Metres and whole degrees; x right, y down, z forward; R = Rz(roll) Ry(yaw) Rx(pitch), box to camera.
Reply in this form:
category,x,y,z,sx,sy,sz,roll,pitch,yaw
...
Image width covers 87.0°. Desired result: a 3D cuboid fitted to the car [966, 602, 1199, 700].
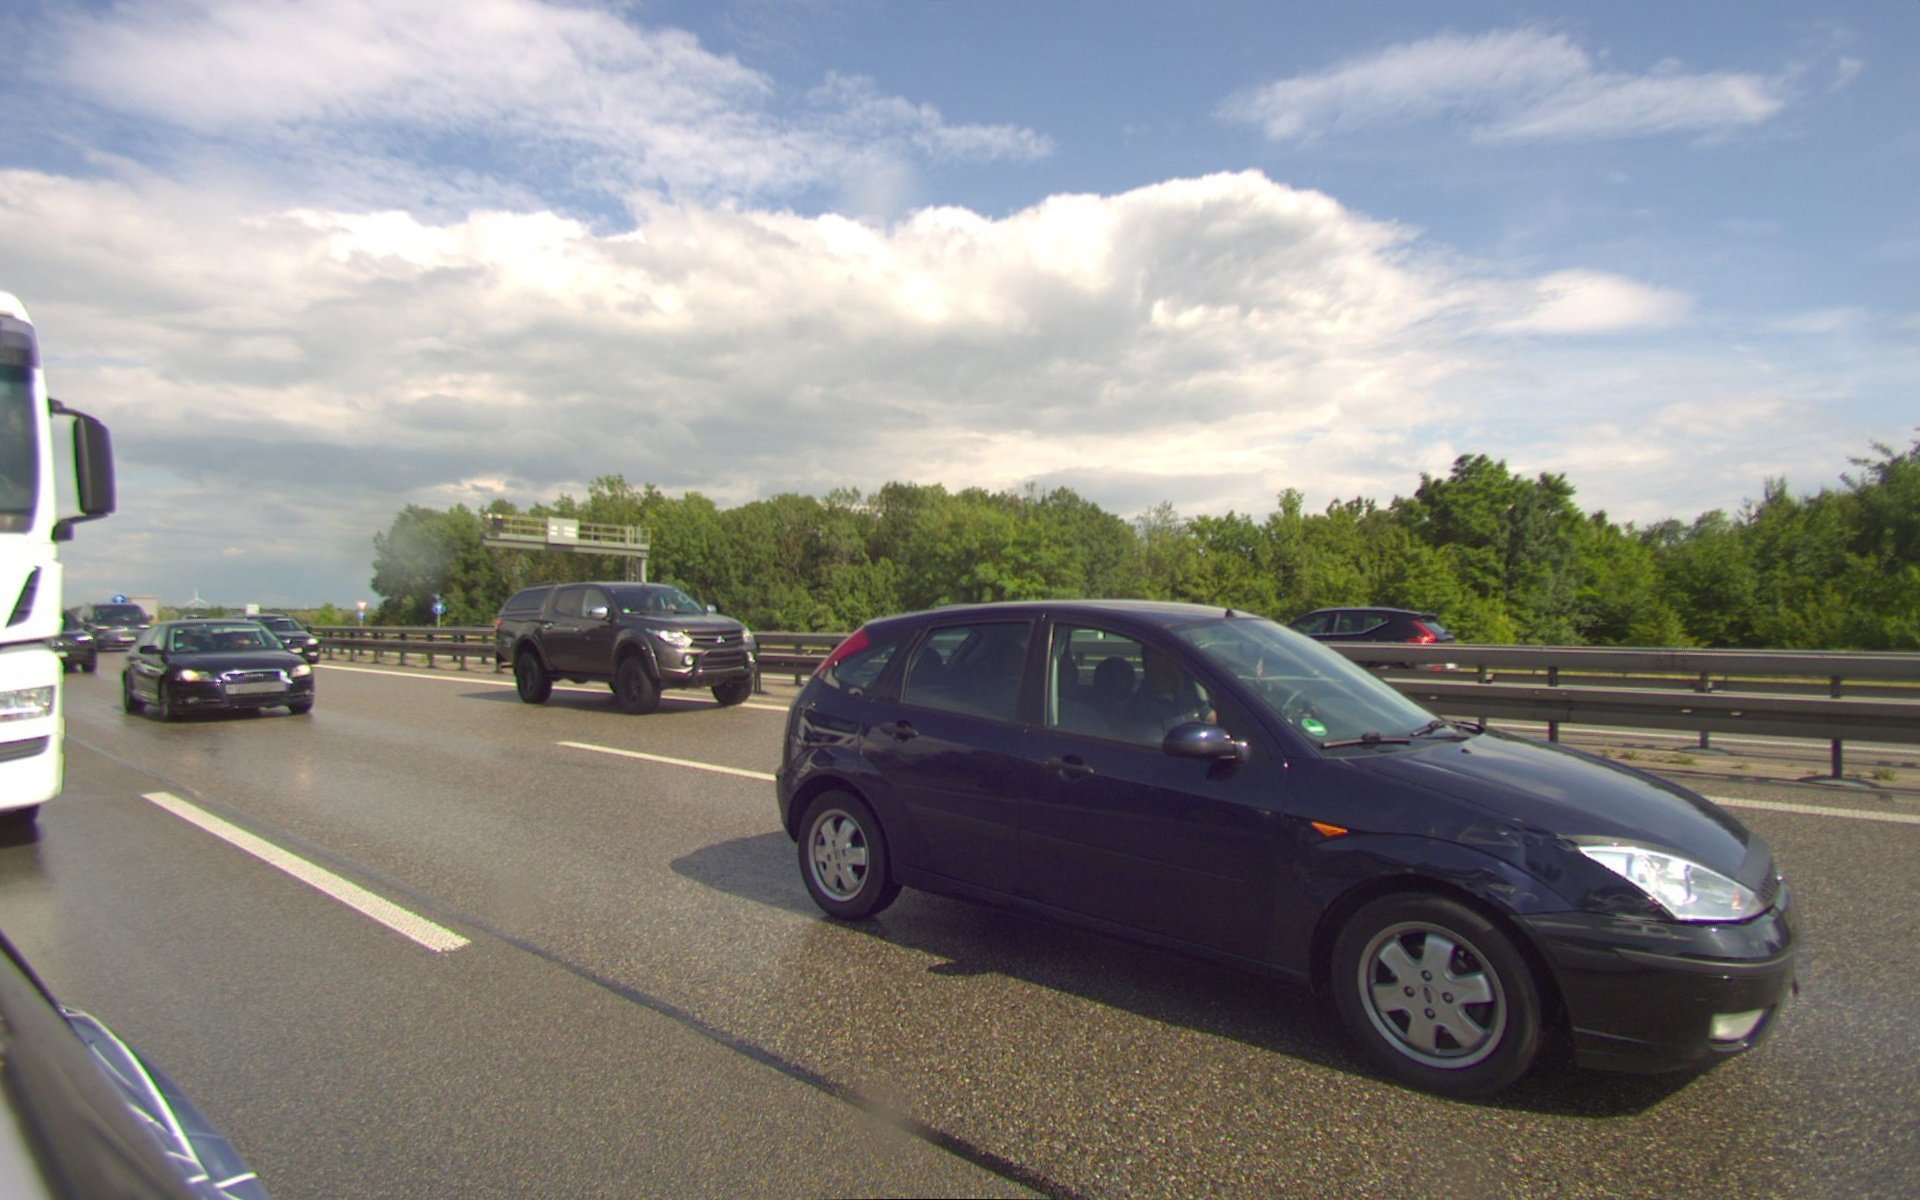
category,x,y,z,sx,sy,sz,roll,pitch,yaw
car,2.118,0.847,18.081,3.818,1.564,1.694,-1,-1,39

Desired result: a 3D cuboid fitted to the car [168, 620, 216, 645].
category,x,y,z,sx,sy,sz,roll,pitch,yaw
car,-48.623,2.041,64.055,3.998,1.529,1.685,-1,-1,42

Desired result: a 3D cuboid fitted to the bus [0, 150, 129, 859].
category,x,y,z,sx,sy,sz,roll,pitch,yaw
bus,-9.877,-0.481,8.515,9.840,4.159,2.867,-1,0,41

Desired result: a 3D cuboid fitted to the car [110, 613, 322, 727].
category,x,y,z,sx,sy,sz,roll,pitch,yaw
car,-11.160,0.943,15.078,4.052,1.444,1.732,-1,-1,41

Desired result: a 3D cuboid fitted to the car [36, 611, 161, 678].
category,x,y,z,sx,sy,sz,roll,pitch,yaw
car,-23.823,1.164,27.928,4.622,1.692,1.858,-1,-1,40

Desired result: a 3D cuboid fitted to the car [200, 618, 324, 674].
category,x,y,z,sx,sy,sz,roll,pitch,yaw
car,-19.759,1.239,28.577,4.370,1.435,1.900,-1,-1,41

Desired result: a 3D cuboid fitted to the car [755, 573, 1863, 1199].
category,x,y,z,sx,sy,sz,roll,pitch,yaw
car,1.075,0.695,4.248,3.998,1.454,1.740,-1,-1,41

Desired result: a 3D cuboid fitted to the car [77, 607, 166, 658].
category,x,y,z,sx,sy,sz,roll,pitch,yaw
car,-34.594,1.299,41.684,5.232,1.932,1.973,-1,-1,40

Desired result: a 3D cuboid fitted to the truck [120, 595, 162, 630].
category,x,y,z,sx,sy,sz,roll,pitch,yaw
truck,-96.114,1.470,118.697,8.919,3.913,2.762,-1,-1,44

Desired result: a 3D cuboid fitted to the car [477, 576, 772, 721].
category,x,y,z,sx,sy,sz,roll,pitch,yaw
car,-5.266,0.659,15.399,5.416,1.858,1.788,-1,-1,42

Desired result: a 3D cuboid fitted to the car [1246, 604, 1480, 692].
category,x,y,z,sx,sy,sz,roll,pitch,yaw
car,7.372,0.830,18.676,3.634,1.444,1.731,-1,-1,43
